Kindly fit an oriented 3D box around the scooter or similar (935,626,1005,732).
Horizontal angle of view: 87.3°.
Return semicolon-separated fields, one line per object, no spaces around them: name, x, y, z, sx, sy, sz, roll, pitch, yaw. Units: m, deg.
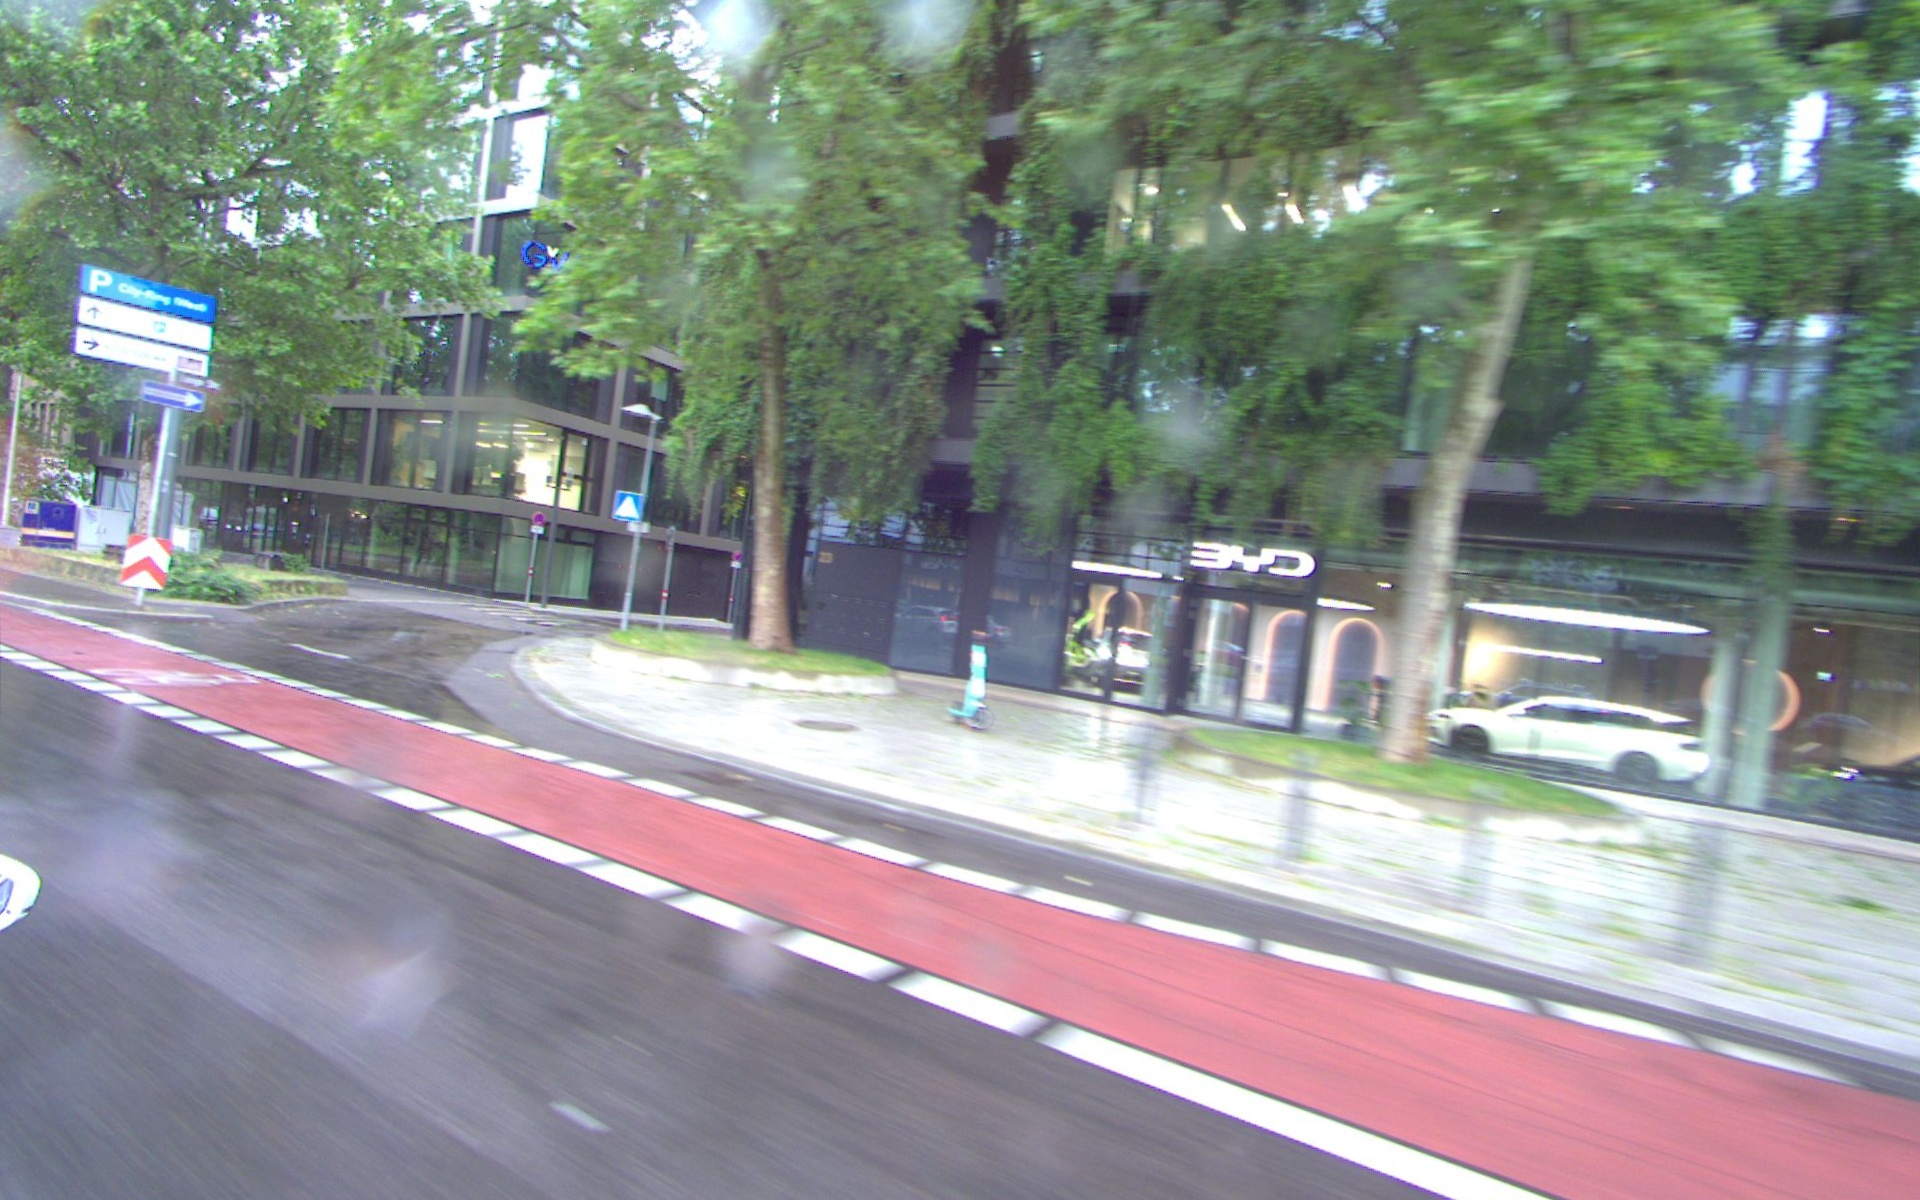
scooter or similar;0.110;1.007;13.095;0.377;1.243;1.073;7;0;-22
